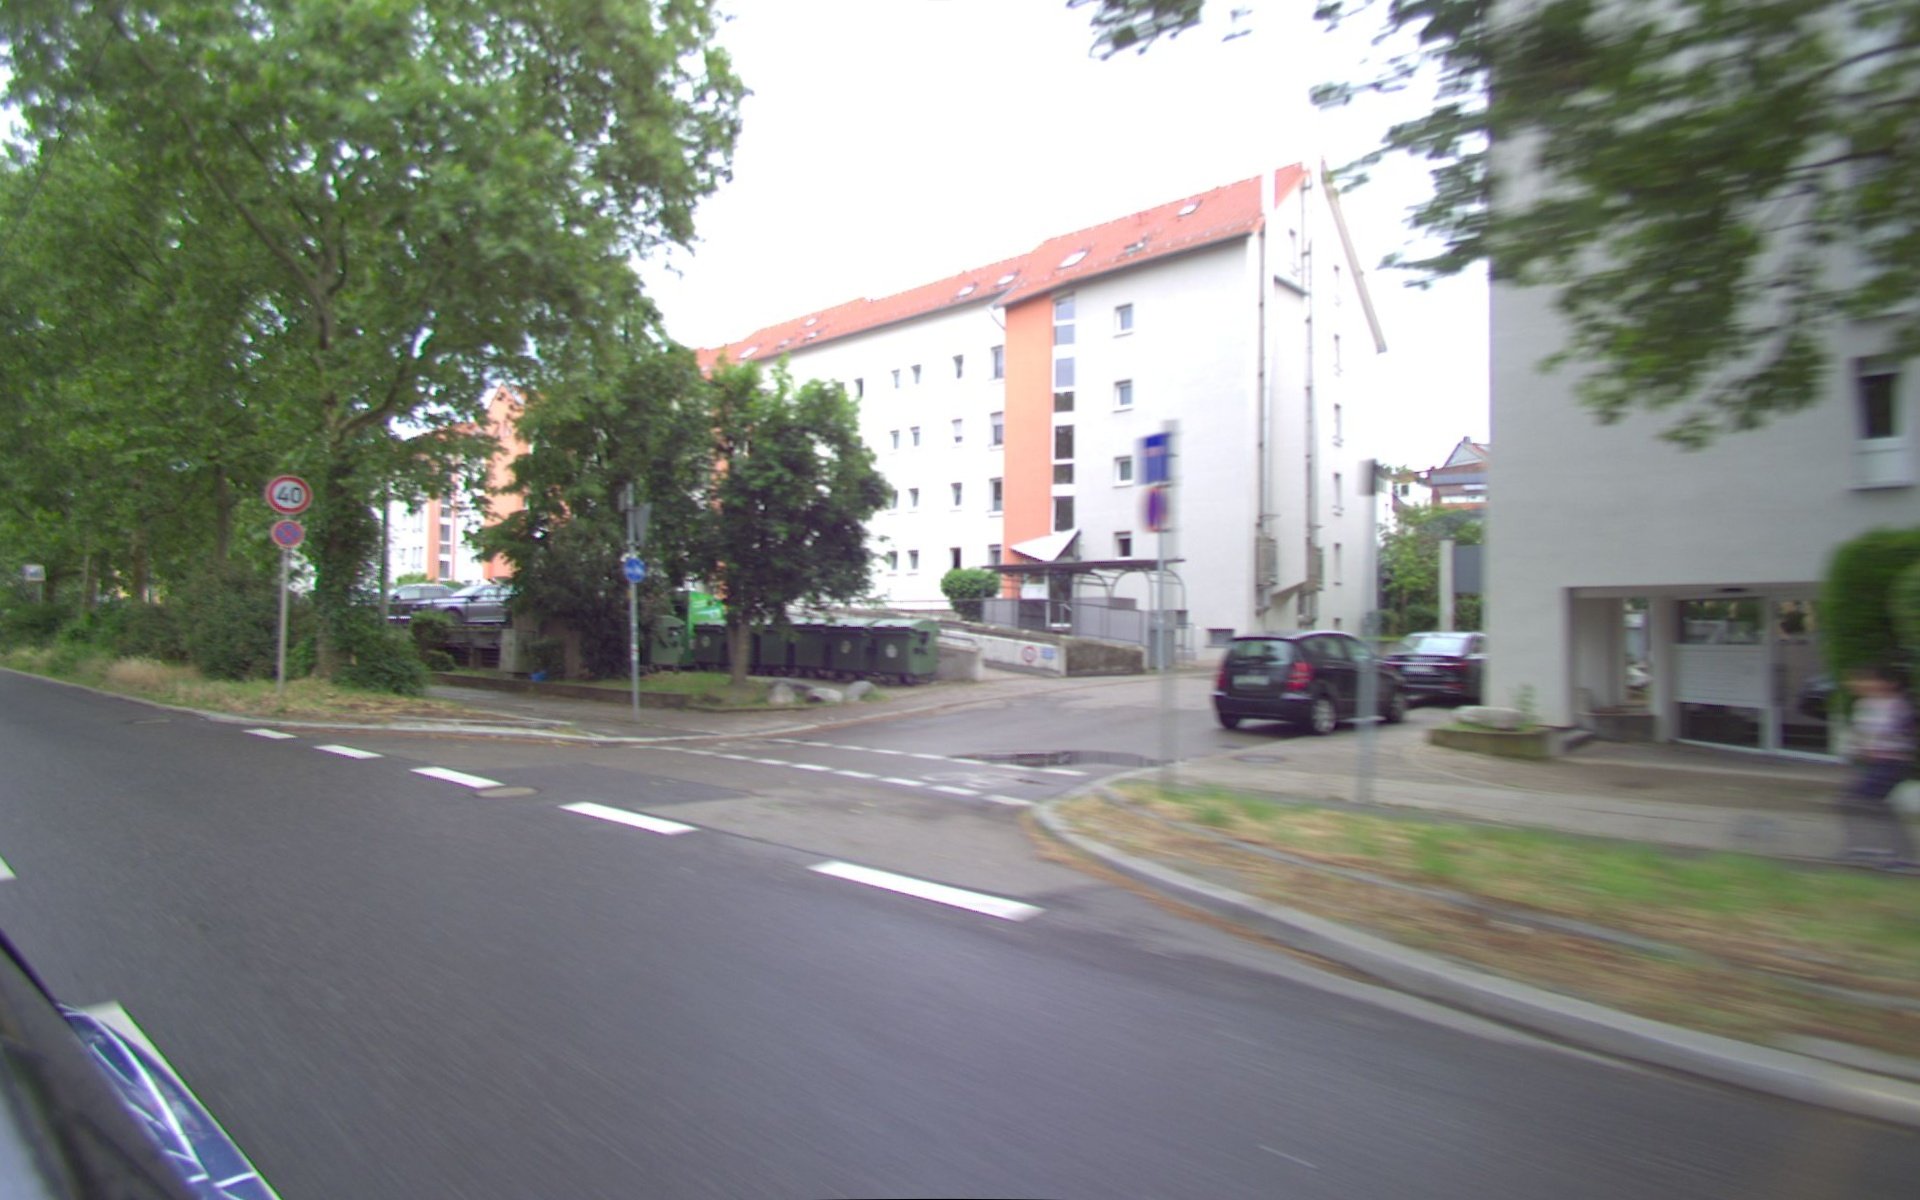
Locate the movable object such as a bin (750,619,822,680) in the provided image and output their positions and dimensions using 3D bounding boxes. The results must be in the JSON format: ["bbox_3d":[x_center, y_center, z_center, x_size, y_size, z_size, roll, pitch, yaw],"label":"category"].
[{"bbox_3d":[-4.355,1.227,25.357,1.300,1.397,1.150,-2,2,40],"label":"movable object such as a bin"}]

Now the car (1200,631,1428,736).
[{"bbox_3d":[5.843,1.256,16.515,3.939,1.488,1.909,2,-3,-43],"label":"car"}]

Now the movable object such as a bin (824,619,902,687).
[{"bbox_3d":[-2.237,1.206,23.411,1.300,1.425,1.150,-2,2,40],"label":"movable object such as a bin"}]

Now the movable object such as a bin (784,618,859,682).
[{"bbox_3d":[-3.340,1.194,24.429,1.300,1.397,1.150,-2,2,40],"label":"movable object such as a bin"}]

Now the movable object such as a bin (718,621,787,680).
[{"bbox_3d":[-5.390,1.303,26.297,1.300,1.397,1.150,-2,2,40],"label":"movable object such as a bin"}]

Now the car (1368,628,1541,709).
[{"bbox_3d":[10.183,1.323,20.724,3.939,1.488,1.909,2,-3,-43],"label":"car"}]

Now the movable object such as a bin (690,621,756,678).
[{"bbox_3d":[-6.365,1.314,27.141,1.225,1.397,1.150,-2,2,40],"label":"movable object such as a bin"}]

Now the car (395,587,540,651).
[{"bbox_3d":[-16.481,0.678,33.982,3.940,2.029,1.958,2,-3,-43],"label":"car"}]

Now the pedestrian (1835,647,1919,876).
[{"bbox_3d":[6.073,1.011,6.529,0.590,1.408,0.590,-2,-3,39],"label":"pedestrian"}]

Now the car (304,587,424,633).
[{"bbox_3d":[-23.598,0.373,40.175,1.736,1.701,3.755,-1,0,38],"label":"car"}]

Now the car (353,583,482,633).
[{"bbox_3d":[-21.008,0.369,39.273,1.958,1.808,3.945,-2,-3,41],"label":"car"}]

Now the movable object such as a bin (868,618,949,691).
[{"bbox_3d":[-1.149,1.191,22.486,1.300,1.474,1.150,-2,2,40],"label":"movable object such as a bin"}]
